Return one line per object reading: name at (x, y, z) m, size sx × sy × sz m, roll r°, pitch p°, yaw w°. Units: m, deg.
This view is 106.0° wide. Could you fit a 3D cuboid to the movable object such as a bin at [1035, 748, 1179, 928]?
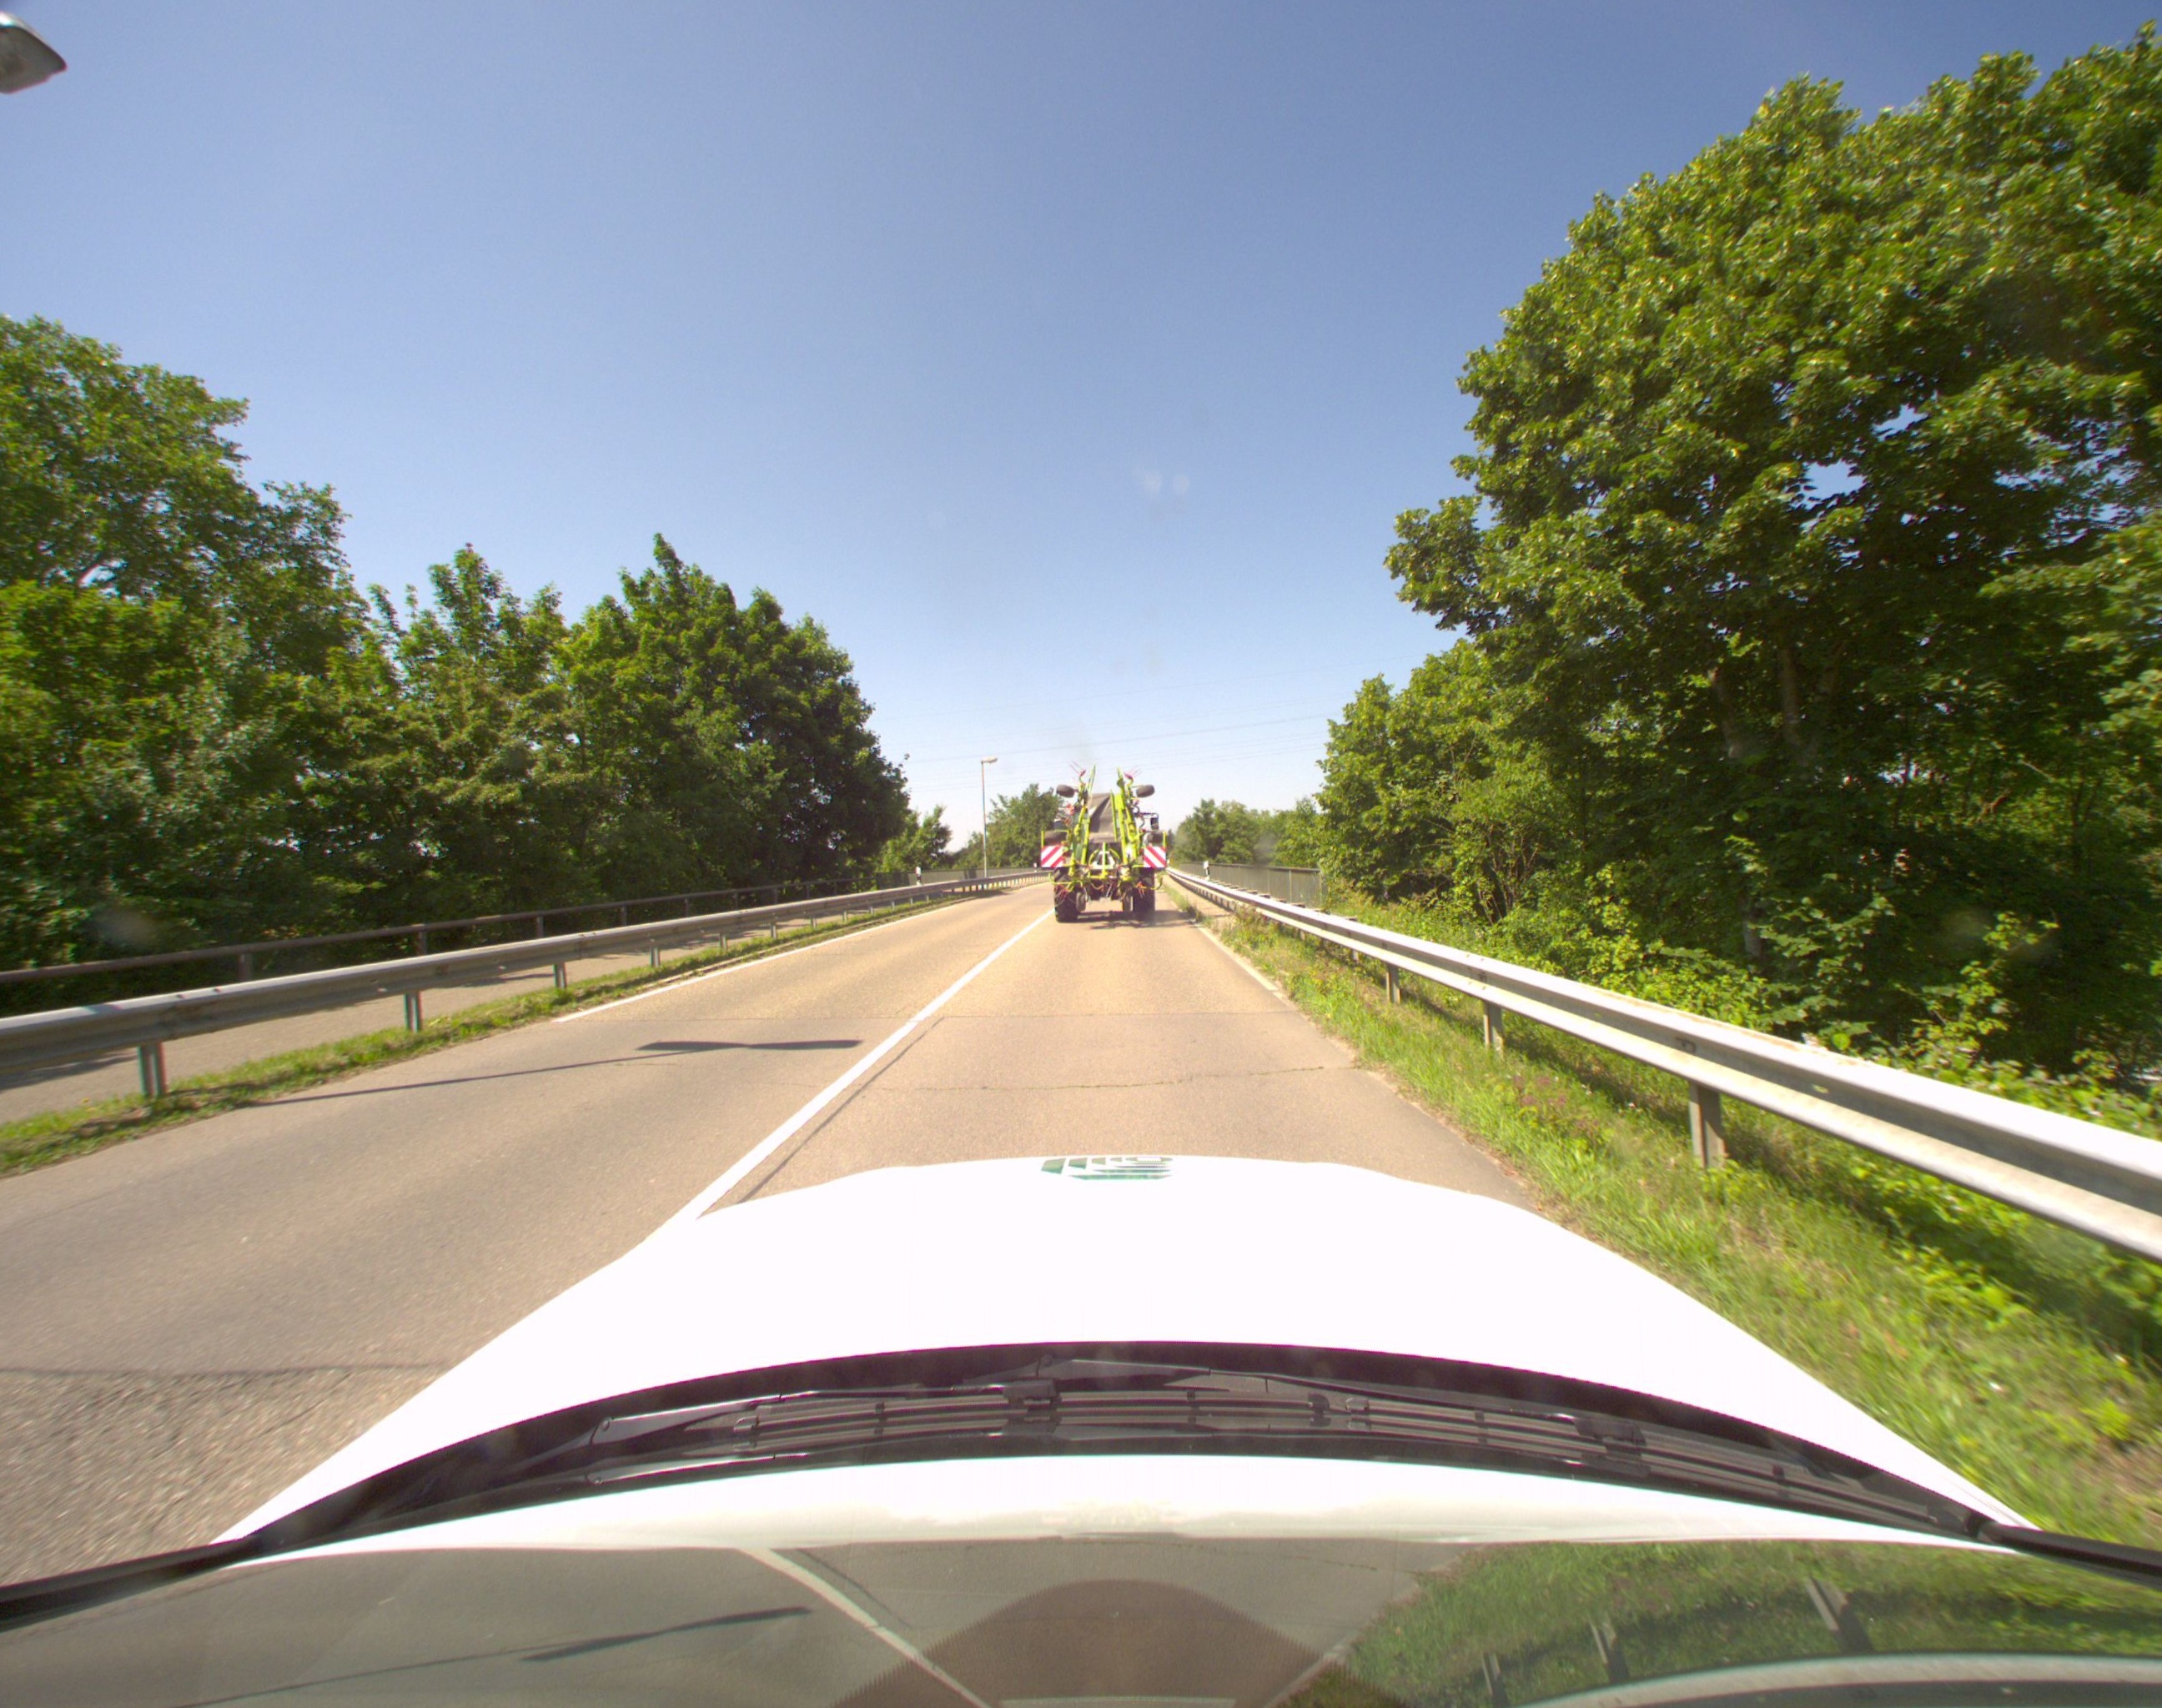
movable object such as a bin at (0.590, -0.309, 18.707) m, size 2.745 × 3.444 × 5.672 m, roll -1°, pitch 0°, yaw 2°
